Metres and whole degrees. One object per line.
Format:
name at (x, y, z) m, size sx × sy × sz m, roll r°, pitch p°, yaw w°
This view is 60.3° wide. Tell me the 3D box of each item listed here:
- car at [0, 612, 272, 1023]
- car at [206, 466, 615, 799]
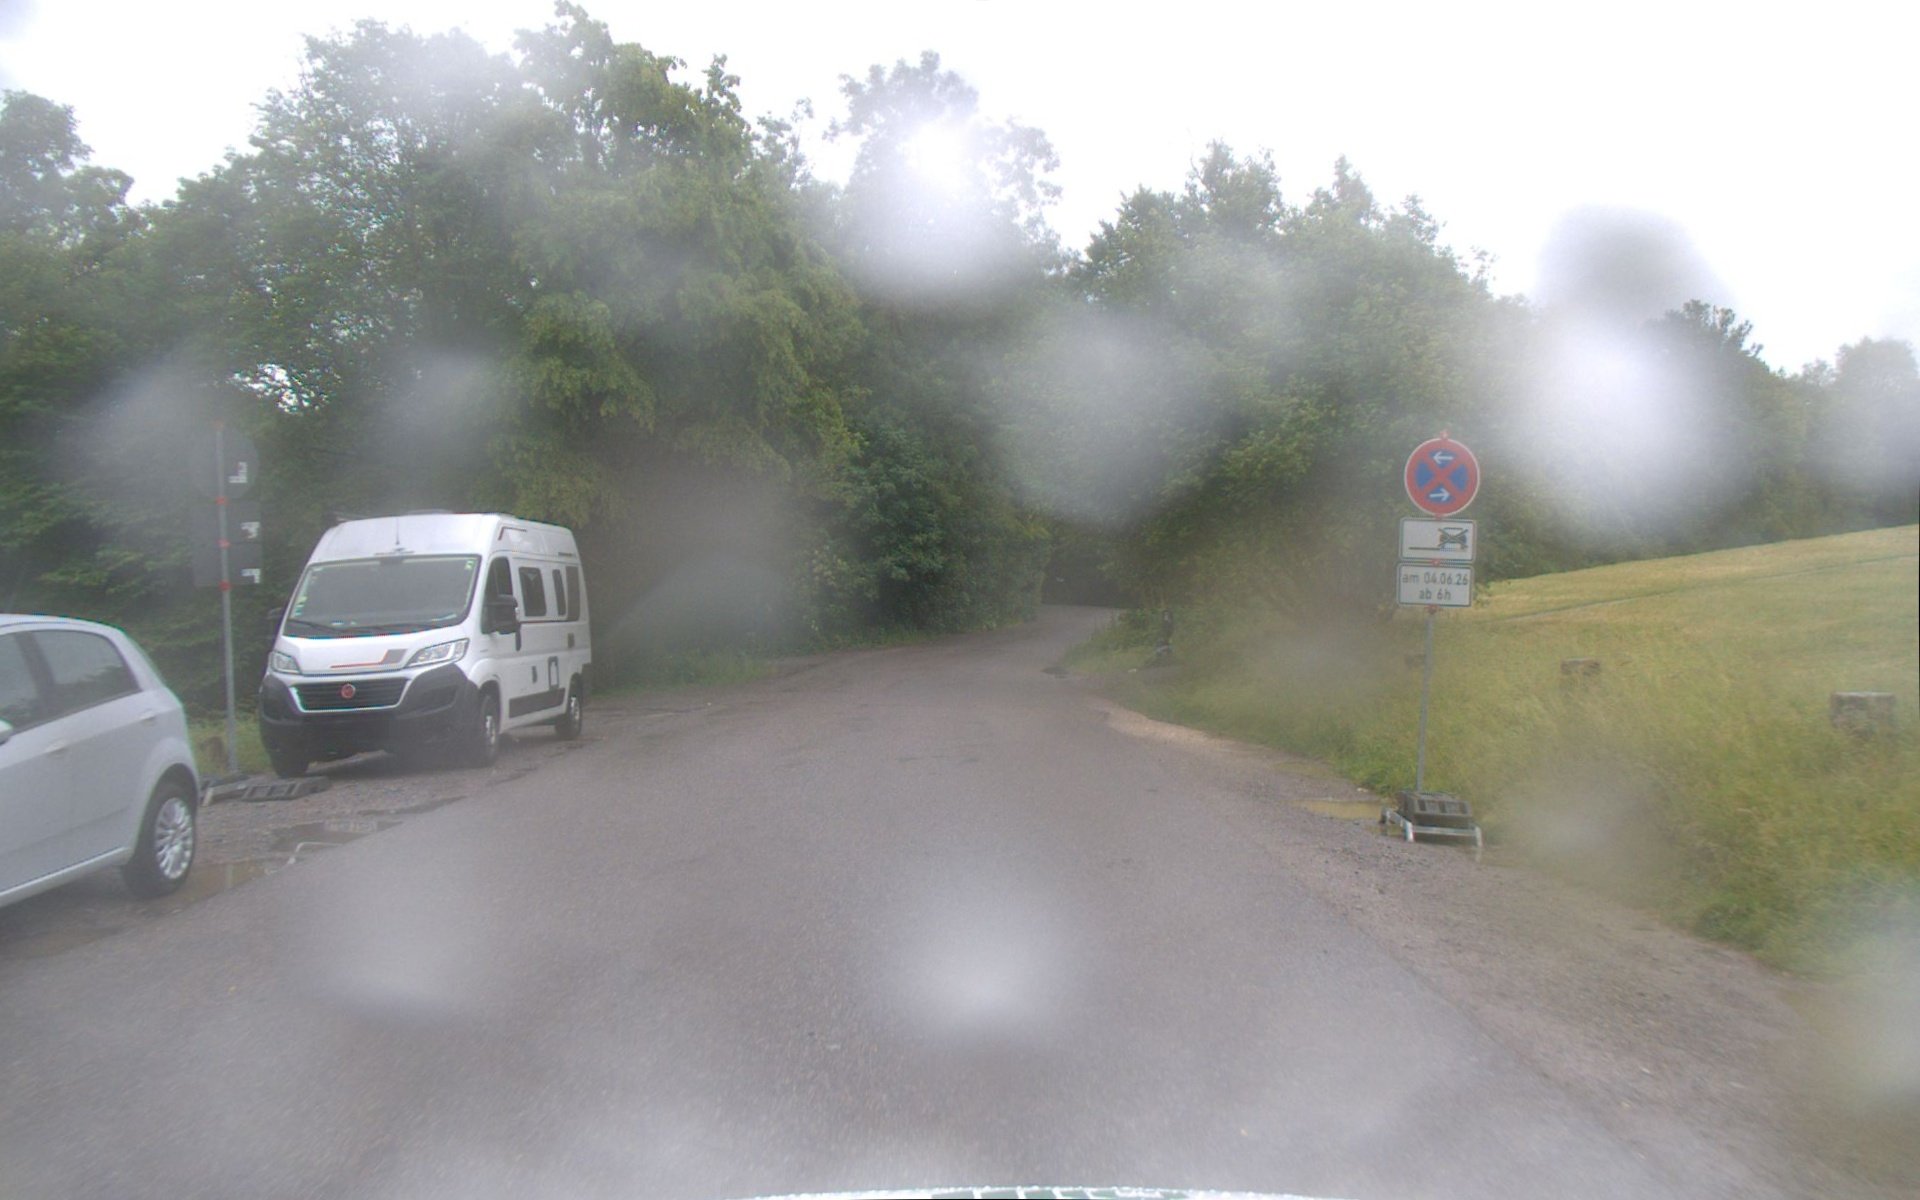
car at (-4.925, 0.967, 7.383) m, size 1.823 × 1.623 × 4.494 m, roll -3°, pitch 1°, yaw -1°
car at (-5.365, 0.217, 17.296) m, size 2.227 × 2.743 × 6.048 m, roll -3°, pitch 1°, yaw -1°
